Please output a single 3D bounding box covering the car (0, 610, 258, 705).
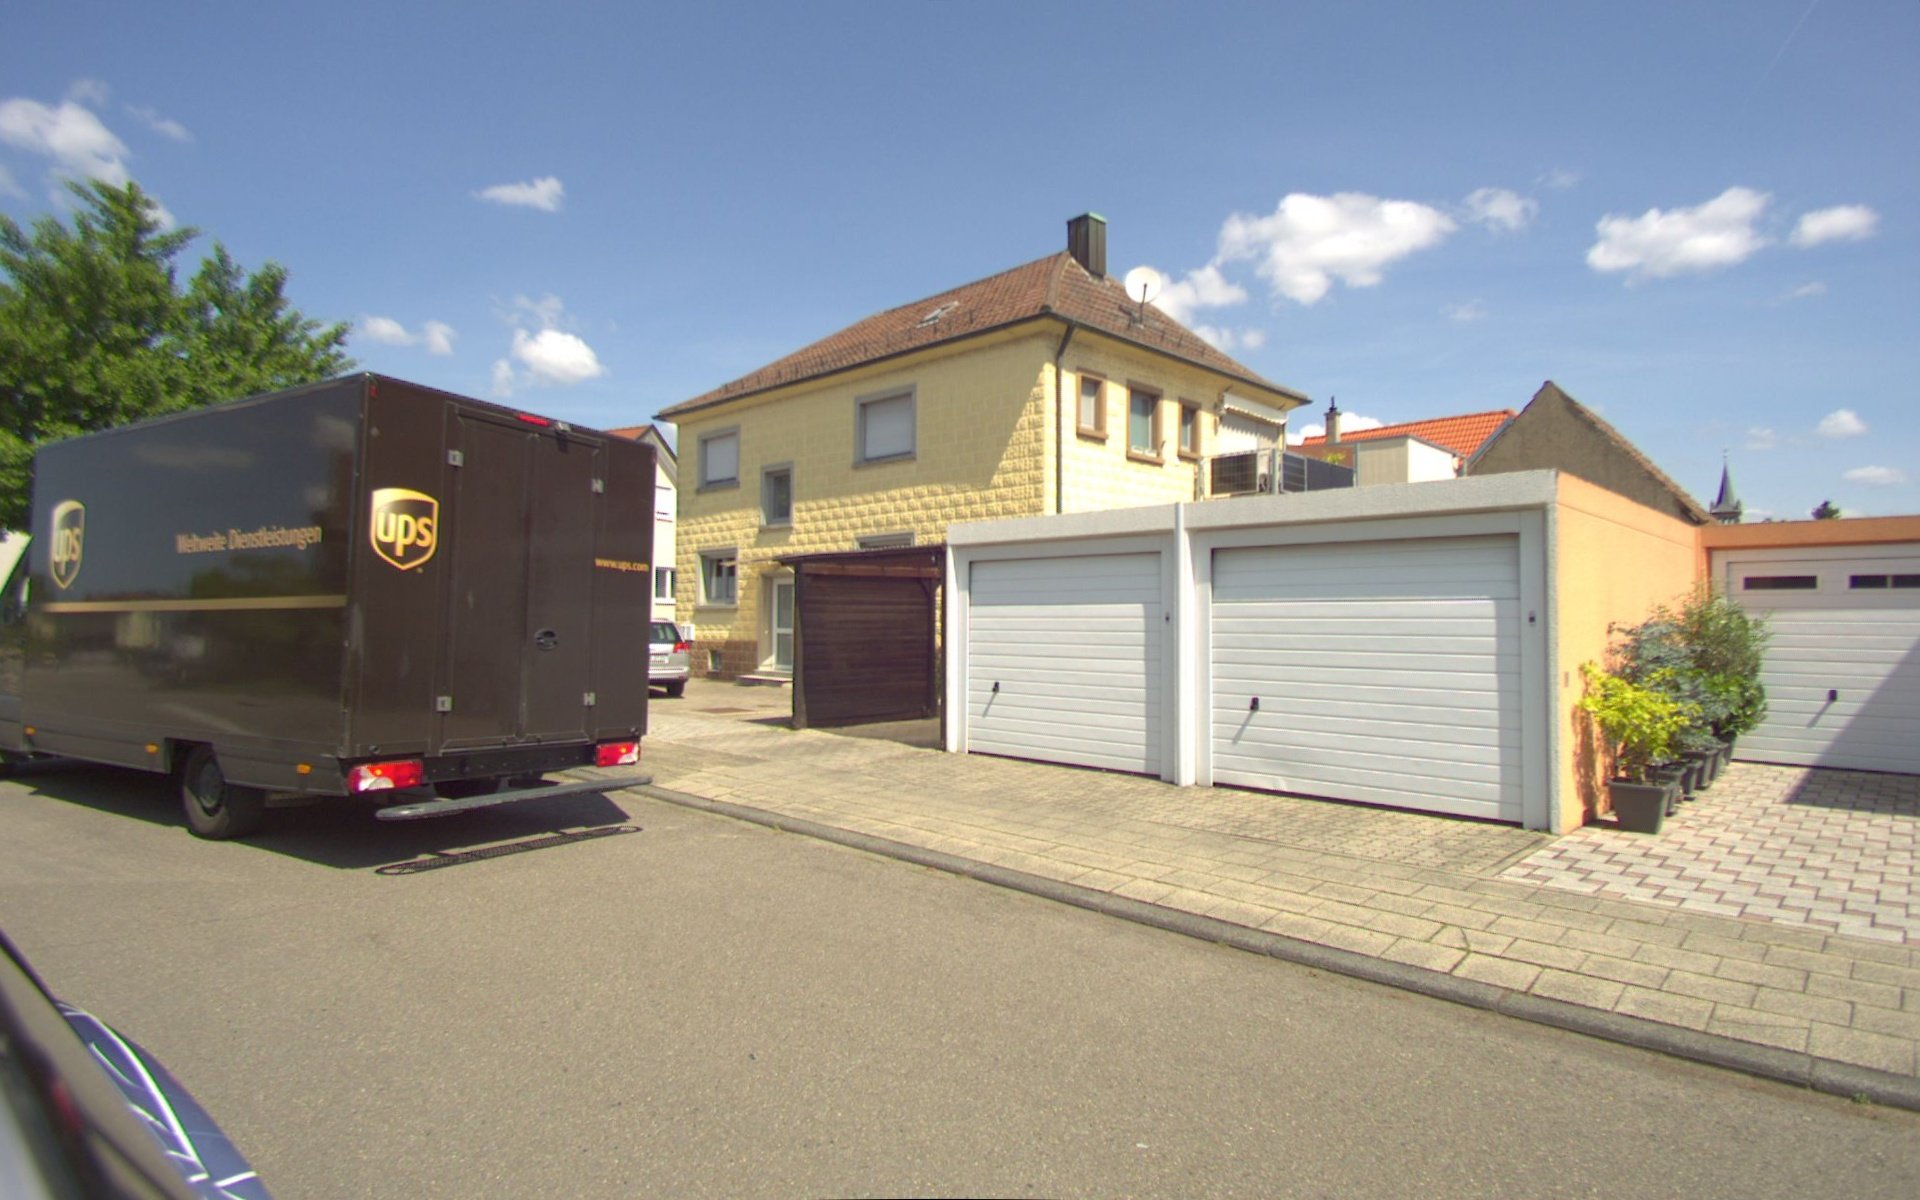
[{"bbox_3d":[-16.394,1.047,19.291,1.785,1.547,4.647,-3,-1,40],"label":"car"}]

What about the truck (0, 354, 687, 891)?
[{"bbox_3d":[-5.785,0.177,8.200,7.270,2.809,2.416,0,-4,31],"label":"truck"}]

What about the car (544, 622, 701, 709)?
[{"bbox_3d":[-6.687,1.176,19.728,1.762,1.496,4.485,1,-2,-34],"label":"car"}]
